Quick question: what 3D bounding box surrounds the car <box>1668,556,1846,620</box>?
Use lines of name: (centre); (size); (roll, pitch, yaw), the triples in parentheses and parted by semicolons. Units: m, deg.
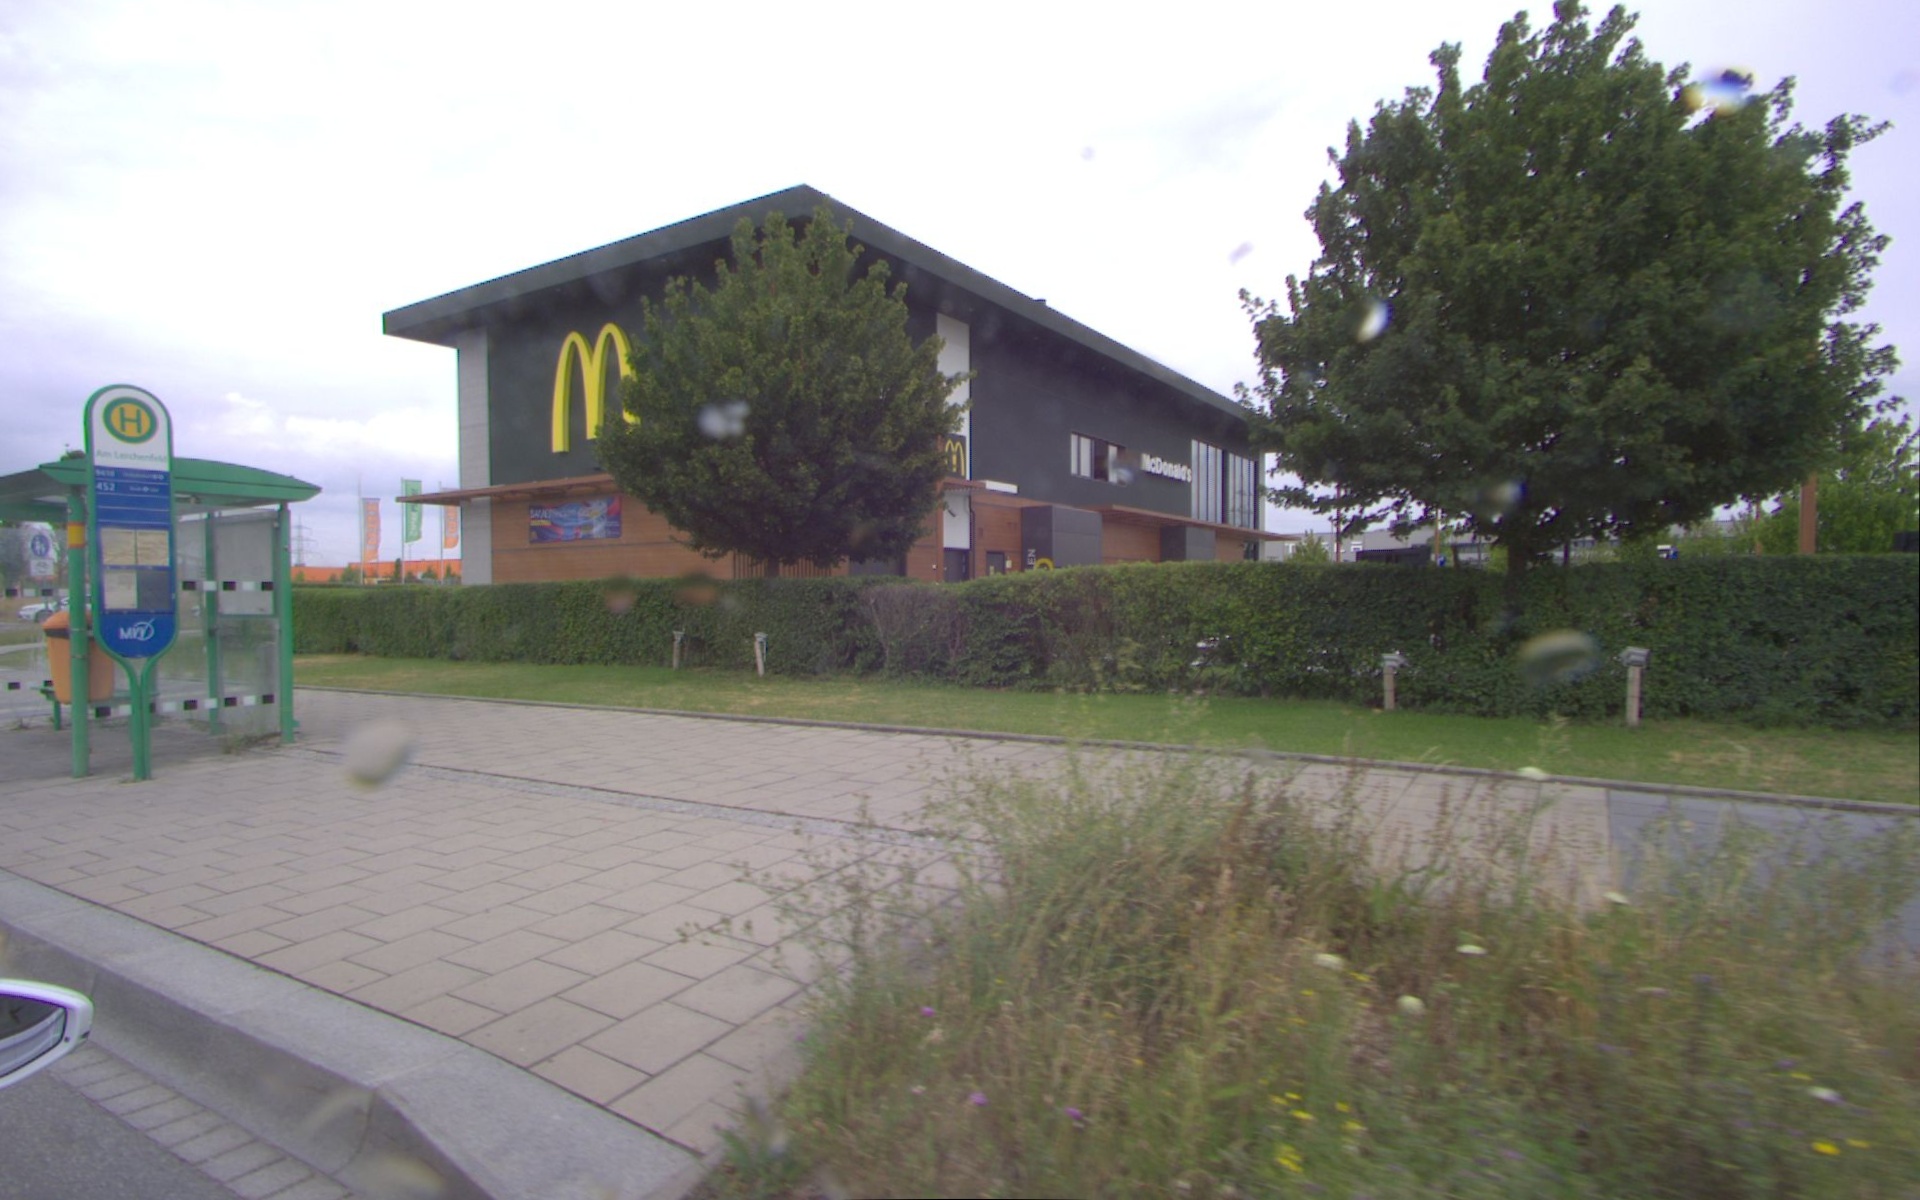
car: (33.085, -0.516, 41.650); (5.932, 2.562, 2.280); (0, 1, -8)

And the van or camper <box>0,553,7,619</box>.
van or camper: (-39.779, -0.535, 39.912); (5.148, 2.539, 2.290); (0, 0, 43)

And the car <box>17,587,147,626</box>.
car: (-42.465, 0.308, 48.497); (1.978, 1.780, 4.577); (0, 0, 42)

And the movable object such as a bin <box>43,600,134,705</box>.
movable object such as a bin: (-7.005, 0.409, 8.055); (0.374, 0.808, 0.455); (0, 0, 32)
